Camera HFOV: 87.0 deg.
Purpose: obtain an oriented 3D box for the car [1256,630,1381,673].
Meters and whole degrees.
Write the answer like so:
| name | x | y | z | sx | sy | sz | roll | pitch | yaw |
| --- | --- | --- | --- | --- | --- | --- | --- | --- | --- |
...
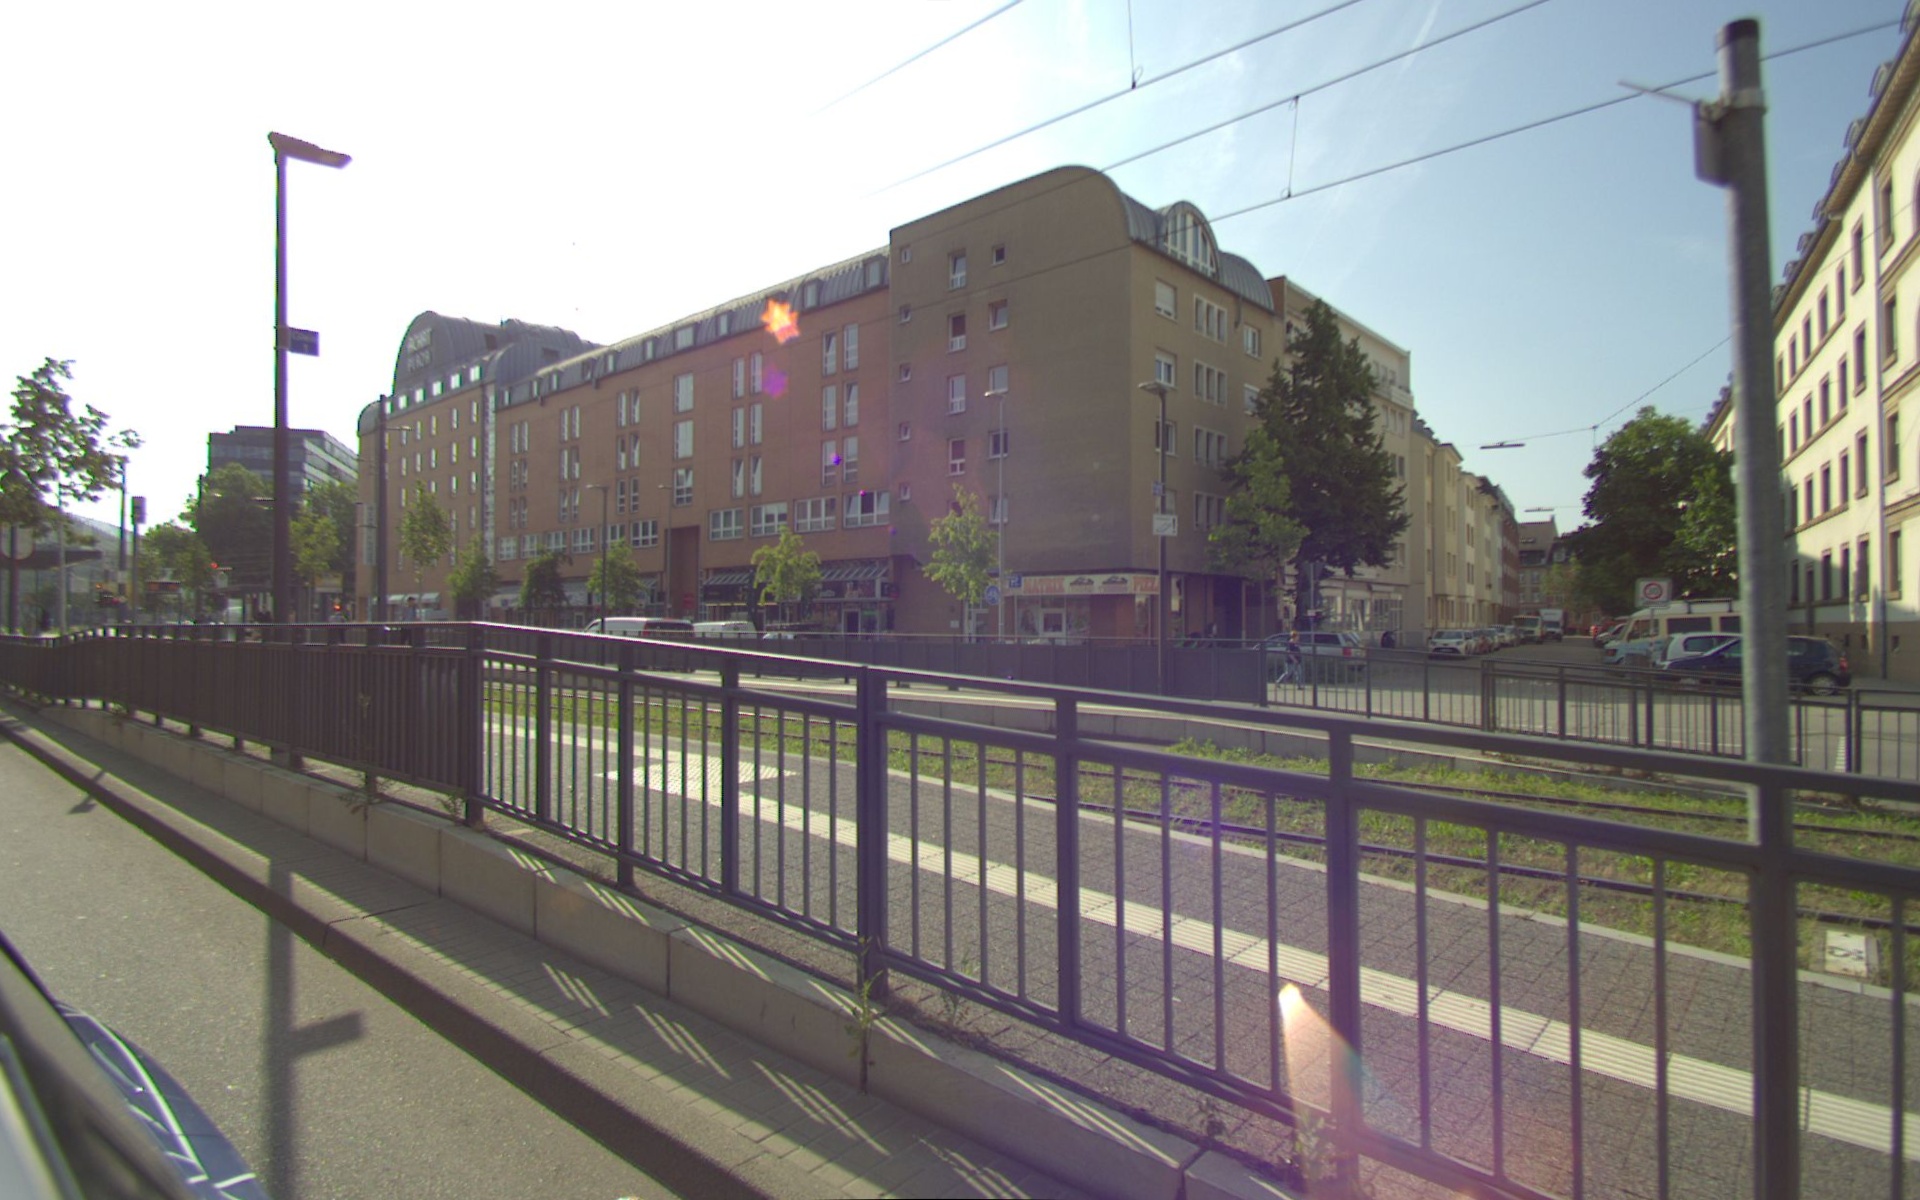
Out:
| name | x | y | z | sx | sy | sz | roll | pitch | yaw |
| --- | --- | --- | --- | --- | --- | --- | --- | --- | --- |
| car | 13.365 | 1.878 | 37.808 | 3.996 | 1.519 | 1.974 | -1 | -2 | 39 |

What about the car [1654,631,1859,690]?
| name | x | y | z | sx | sy | sz | roll | pitch | yaw |
| --- | --- | --- | --- | --- | --- | --- | --- | --- | --- |
| car | 20.244 | 1.496 | 25.937 | 3.992 | 1.416 | 1.658 | -1 | -2 | 36 |

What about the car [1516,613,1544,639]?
| name | x | y | z | sx | sy | sz | roll | pitch | yaw |
| --- | --- | --- | --- | --- | --- | --- | --- | --- | --- |
| car | 52.035 | 2.343 | 92.353 | 1.824 | 2.329 | 4.064 | -1 | -2 | 34 |

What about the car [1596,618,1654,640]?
| name | x | y | z | sx | sy | sz | roll | pitch | yaw |
| --- | --- | --- | --- | --- | --- | --- | --- | --- | --- |
| car | 56.252 | 2.443 | 85.655 | 4.054 | 1.863 | 1.953 | -1 | -2 | 34 |

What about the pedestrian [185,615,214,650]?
| name | x | y | z | sx | sy | sz | roll | pitch | yaw |
| --- | --- | --- | --- | --- | --- | --- | --- | --- | --- |
| pedestrian | -38.525 | 1.645 | 51.276 | 0.825 | 1.760 | 0.784 | 1 | -3 | 5 |

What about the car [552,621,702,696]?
| name | x | y | z | sx | sy | sz | roll | pitch | yaw |
| --- | --- | --- | --- | --- | --- | --- | --- | --- | --- |
| car | -9.951 | 1.671 | 30.053 | 4.929 | 2.029 | 1.973 | -2 | -2 | 41 |

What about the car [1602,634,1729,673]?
| name | x | y | z | sx | sy | sz | roll | pitch | yaw |
| --- | --- | --- | --- | --- | --- | --- | --- | --- | --- |
| car | 26.927 | 2.009 | 38.728 | 3.888 | 1.426 | 1.658 | -1 | -2 | 36 |

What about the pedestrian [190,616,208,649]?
| name | x | y | z | sx | sy | sz | roll | pitch | yaw |
| --- | --- | --- | --- | --- | --- | --- | --- | --- | --- |
| pedestrian | -42.027 | 1.776 | 55.901 | 0.698 | 1.773 | 0.644 | -1 | 1 | 42 |

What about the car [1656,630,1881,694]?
| name | x | y | z | sx | sy | sz | roll | pitch | yaw |
| --- | --- | --- | --- | --- | --- | --- | --- | --- | --- |
| car | 18.774 | 1.404 | 23.748 | 3.991 | 1.364 | 1.566 | -1 | -2 | 35 |

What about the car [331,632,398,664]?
| name | x | y | z | sx | sy | sz | roll | pitch | yaw |
| --- | --- | --- | --- | --- | --- | --- | --- | --- | --- |
| car | -35.547 | 2.813 | 60.380 | 4.628 | 1.819 | 1.973 | -1 | -3 | 40 |

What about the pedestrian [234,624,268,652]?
| name | x | y | z | sx | sy | sz | roll | pitch | yaw |
| --- | --- | --- | --- | --- | --- | --- | --- | --- | --- |
| pedestrian | -32.830 | 1.772 | 46.880 | 0.675 | 1.255 | 1.141 | -2 | -3 | 41 |

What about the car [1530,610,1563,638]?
| name | x | y | z | sx | sy | sz | roll | pitch | yaw |
| --- | --- | --- | --- | --- | --- | --- | --- | --- | --- |
| car | 62.046 | 2.554 | 106.994 | 2.581 | 2.928 | 5.920 | -1 | -2 | 34 |

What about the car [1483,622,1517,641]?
| name | x | y | z | sx | sy | sz | roll | pitch | yaw |
| --- | --- | --- | --- | --- | --- | --- | --- | --- | --- |
| car | 40.565 | 2.396 | 75.979 | 1.824 | 1.386 | 3.953 | -1 | -2 | 34 |

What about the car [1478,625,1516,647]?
| name | x | y | z | sx | sy | sz | roll | pitch | yaw |
| --- | --- | --- | --- | --- | --- | --- | --- | --- | --- |
| car | 35.871 | 2.398 | 67.518 | 1.824 | 1.386 | 3.953 | -1 | -2 | 34 |

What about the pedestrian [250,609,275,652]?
| name | x | y | z | sx | sy | sz | roll | pitch | yaw |
| --- | --- | --- | --- | --- | --- | --- | --- | --- | --- |
| pedestrian | -30.776 | 1.348 | 44.662 | 0.795 | 1.900 | 0.555 | 1 | -2 | -44 |

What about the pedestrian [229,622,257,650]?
| name | x | y | z | sx | sy | sz | roll | pitch | yaw |
| --- | --- | --- | --- | --- | --- | --- | --- | --- | --- |
| pedestrian | -34.630 | 1.735 | 48.875 | 0.808 | 1.324 | 0.860 | -1 | -3 | 38 |

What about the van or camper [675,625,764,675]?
| name | x | y | z | sx | sy | sz | roll | pitch | yaw |
| --- | --- | --- | --- | --- | --- | --- | --- | --- | --- |
| van or camper | -10.316 | 2.110 | 43.249 | 1.970 | 2.029 | 4.003 | 2 | -2 | -44 |

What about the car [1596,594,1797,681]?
| name | x | y | z | sx | sy | sz | roll | pitch | yaw |
| --- | --- | --- | --- | --- | --- | --- | --- | --- | --- |
| car | 23.504 | 1.196 | 32.570 | 5.041 | 2.603 | 1.976 | -1 | -2 | 35 |

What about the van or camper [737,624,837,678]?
| name | x | y | z | sx | sy | sz | roll | pitch | yaw |
| --- | --- | --- | --- | --- | --- | --- | --- | --- | --- |
| van or camper | -6.757 | 1.945 | 39.332 | 1.907 | 1.983 | 4.003 | 1 | -2 | -44 |

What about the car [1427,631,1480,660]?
| name | x | y | z | sx | sy | sz | roll | pitch | yaw |
| --- | --- | --- | --- | --- | --- | --- | --- | --- | --- |
| car | 24.951 | 2.268 | 51.110 | 1.825 | 1.386 | 3.952 | -1 | -2 | 35 |

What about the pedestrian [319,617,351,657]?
| name | x | y | z | sx | sy | sz | roll | pitch | yaw |
| --- | --- | --- | --- | --- | --- | --- | --- | --- | --- |
| pedestrian | -24.230 | 1.419 | 39.254 | 0.803 | 1.542 | 0.676 | 0 | -2 | 11 |

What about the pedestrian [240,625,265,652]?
| name | x | y | z | sx | sy | sz | roll | pitch | yaw |
| --- | --- | --- | --- | --- | --- | --- | --- | --- | --- |
| pedestrian | -33.243 | 1.787 | 47.528 | 0.675 | 1.255 | 0.783 | -2 | -3 | 41 |

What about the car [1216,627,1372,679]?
| name | x | y | z | sx | sy | sz | roll | pitch | yaw |
| --- | --- | --- | --- | --- | --- | --- | --- | --- | --- |
| car | 10.927 | 1.698 | 33.274 | 4.548 | 1.612 | 1.747 | -1 | -2 | 37 |

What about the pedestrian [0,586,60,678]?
| name | x | y | z | sx | sy | sz | roll | pitch | yaw |
| --- | --- | --- | --- | --- | --- | --- | --- | --- | --- |
| pedestrian | -21.348 | 0.718 | 23.237 | 1.027 | 2.029 | 0.825 | -1 | 1 | 38 |

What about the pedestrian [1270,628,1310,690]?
| name | x | y | z | sx | sy | sz | roll | pitch | yaw |
| --- | --- | --- | --- | --- | --- | --- | --- | --- | --- |
| pedestrian | 8.629 | 1.524 | 26.446 | 0.807 | 1.595 | 0.671 | -1 | -2 | 38 |

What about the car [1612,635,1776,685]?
| name | x | y | z | sx | sy | sz | roll | pitch | yaw |
| --- | --- | --- | --- | --- | --- | --- | --- | --- | --- |
| car | 22.232 | 1.783 | 30.793 | 3.918 | 1.426 | 1.658 | -1 | -2 | 36 |

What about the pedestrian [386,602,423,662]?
| name | x | y | z | sx | sy | sz | roll | pitch | yaw |
| --- | --- | --- | --- | --- | --- | --- | --- | --- | --- |
| pedestrian | -17.740 | 1.010 | 32.306 | 0.939 | 1.886 | 0.731 | -1 | -2 | 41 |

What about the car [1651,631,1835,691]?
| name | x | y | z | sx | sy | sz | roll | pitch | yaw |
| --- | --- | --- | --- | --- | --- | --- | --- | --- | --- |
| car | 21.607 | 1.633 | 28.125 | 3.918 | 1.544 | 1.658 | -1 | -2 | 36 |

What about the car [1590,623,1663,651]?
| name | x | y | z | sx | sy | sz | roll | pitch | yaw |
| --- | --- | --- | --- | --- | --- | --- | --- | --- | --- |
| car | 44.307 | 2.470 | 67.396 | 3.989 | 1.807 | 1.977 | -1 | -2 | 33 |

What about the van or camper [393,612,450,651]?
| name | x | y | z | sx | sy | sz | roll | pitch | yaw |
| --- | --- | --- | --- | --- | --- | --- | --- | --- | --- |
| van or camper | -40.359 | 2.369 | 75.801 | 5.351 | 2.823 | 1.972 | -1 | -2 | 42 |
